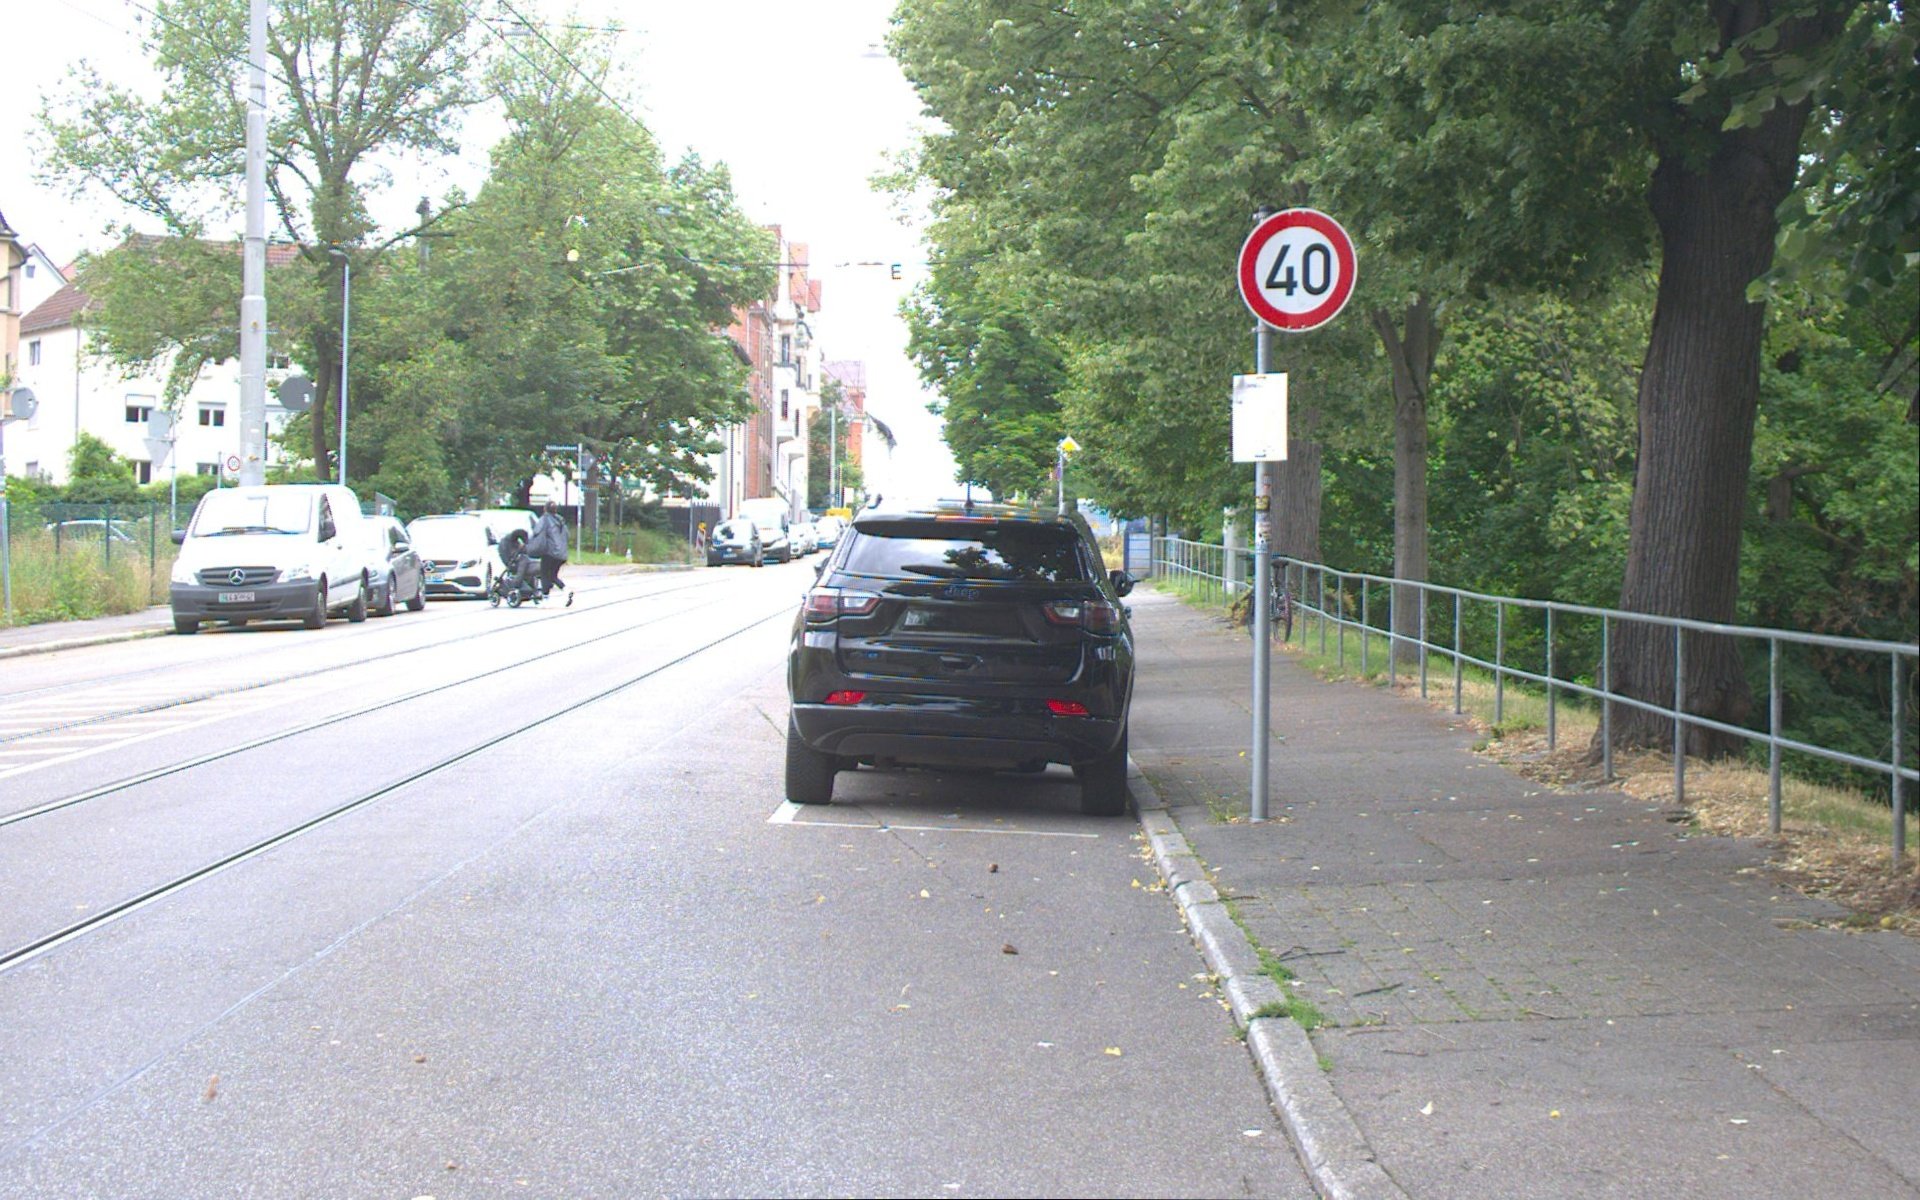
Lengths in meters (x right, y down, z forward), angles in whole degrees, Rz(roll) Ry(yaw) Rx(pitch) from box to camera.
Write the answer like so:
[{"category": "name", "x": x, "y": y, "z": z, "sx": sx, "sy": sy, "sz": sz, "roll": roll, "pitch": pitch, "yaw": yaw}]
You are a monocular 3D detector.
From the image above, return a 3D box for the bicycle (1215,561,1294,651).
[{"category": "bicycle", "x": 3.276, "y": 0.056, "z": 38.381, "sx": 0.427, "sy": 0.972, "sz": 1.795, "roll": 1, "pitch": 0, "yaw": -9}]

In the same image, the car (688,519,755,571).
[{"category": "car", "x": -8.673, "y": -1.988, "z": 125.362, "sx": 1.993, "sy": 1.802, "sz": 4.000, "roll": 1, "pitch": 0, "yaw": 2}]

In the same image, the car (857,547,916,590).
[{"category": "car", "x": -2.650, "y": -1.145, "z": 124.449, "sx": 1.993, "sy": 1.493, "sz": 4.312, "roll": 1, "pitch": 0, "yaw": 0}]

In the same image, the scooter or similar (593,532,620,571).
[{"category": "scooter or similar", "x": -12.399, "y": -1.705, "z": 120.689, "sx": 0.691, "sy": 1.334, "sz": 1.639, "roll": 1, "pitch": 0, "yaw": 2}]

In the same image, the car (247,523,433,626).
[{"category": "car", "x": -9.101, "y": -0.409, "z": 50.816, "sx": 1.896, "sy": 1.428, "sz": 4.511, "roll": 0, "pitch": 2, "yaw": 0}]

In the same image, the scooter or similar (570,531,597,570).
[{"category": "scooter or similar", "x": -13.216, "y": -1.728, "z": 120.610, "sx": 0.691, "sy": 1.334, "sz": 1.639, "roll": 1, "pitch": 0, "yaw": 2}]

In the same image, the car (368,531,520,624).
[{"category": "car", "x": -8.833, "y": -0.408, "z": 59.213, "sx": 1.885, "sy": 1.521, "sz": 4.663, "roll": 0, "pitch": 1, "yaw": 0}]

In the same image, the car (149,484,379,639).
[{"category": "car", "x": -9.056, "y": -0.501, "z": 45.151, "sx": 2.035, "sy": 1.875, "sz": 4.885, "roll": -2, "pitch": 1, "yaw": -1}]

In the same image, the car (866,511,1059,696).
[{"category": "car", "x": -0.012, "y": -0.017, "z": 34.857, "sx": 1.726, "sy": 1.626, "sz": 4.088, "roll": 5, "pitch": 1, "yaw": -1}]

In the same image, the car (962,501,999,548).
[{"category": "car", "x": 1.159, "y": -4.226, "z": 192.996, "sx": 1.993, "sy": 2.565, "sz": 4.705, "roll": 1, "pitch": 0, "yaw": 1}]

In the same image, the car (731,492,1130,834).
[{"category": "car", "x": -0.077, "y": 0.257, "z": 19.193, "sx": 1.904, "sy": 1.609, "sz": 4.600, "roll": 2, "pitch": 1, "yaw": 2}]

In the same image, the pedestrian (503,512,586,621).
[{"category": "pedestrian", "x": -6.280, "y": -0.507, "z": 51.974, "sx": 0.915, "sy": 1.623, "sz": 0.805, "roll": 2, "pitch": 0, "yaw": 38}]

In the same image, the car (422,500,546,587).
[{"category": "car", "x": -8.964, "y": -1.079, "z": 65.001, "sx": 1.723, "sy": 1.574, "sz": 4.181, "roll": 0, "pitch": 1, "yaw": 1}]

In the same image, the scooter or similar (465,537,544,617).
[{"category": "scooter or similar", "x": -6.954, "y": -0.348, "z": 52.483, "sx": 0.838, "sy": 1.192, "sz": 0.805, "roll": 2, "pitch": 0, "yaw": 37}]

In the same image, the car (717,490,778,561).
[{"category": "car", "x": -8.626, "y": -3.011, "z": 139.944, "sx": 2.230, "sy": 2.755, "sz": 5.800, "roll": 1, "pitch": 0, "yaw": -2}]
